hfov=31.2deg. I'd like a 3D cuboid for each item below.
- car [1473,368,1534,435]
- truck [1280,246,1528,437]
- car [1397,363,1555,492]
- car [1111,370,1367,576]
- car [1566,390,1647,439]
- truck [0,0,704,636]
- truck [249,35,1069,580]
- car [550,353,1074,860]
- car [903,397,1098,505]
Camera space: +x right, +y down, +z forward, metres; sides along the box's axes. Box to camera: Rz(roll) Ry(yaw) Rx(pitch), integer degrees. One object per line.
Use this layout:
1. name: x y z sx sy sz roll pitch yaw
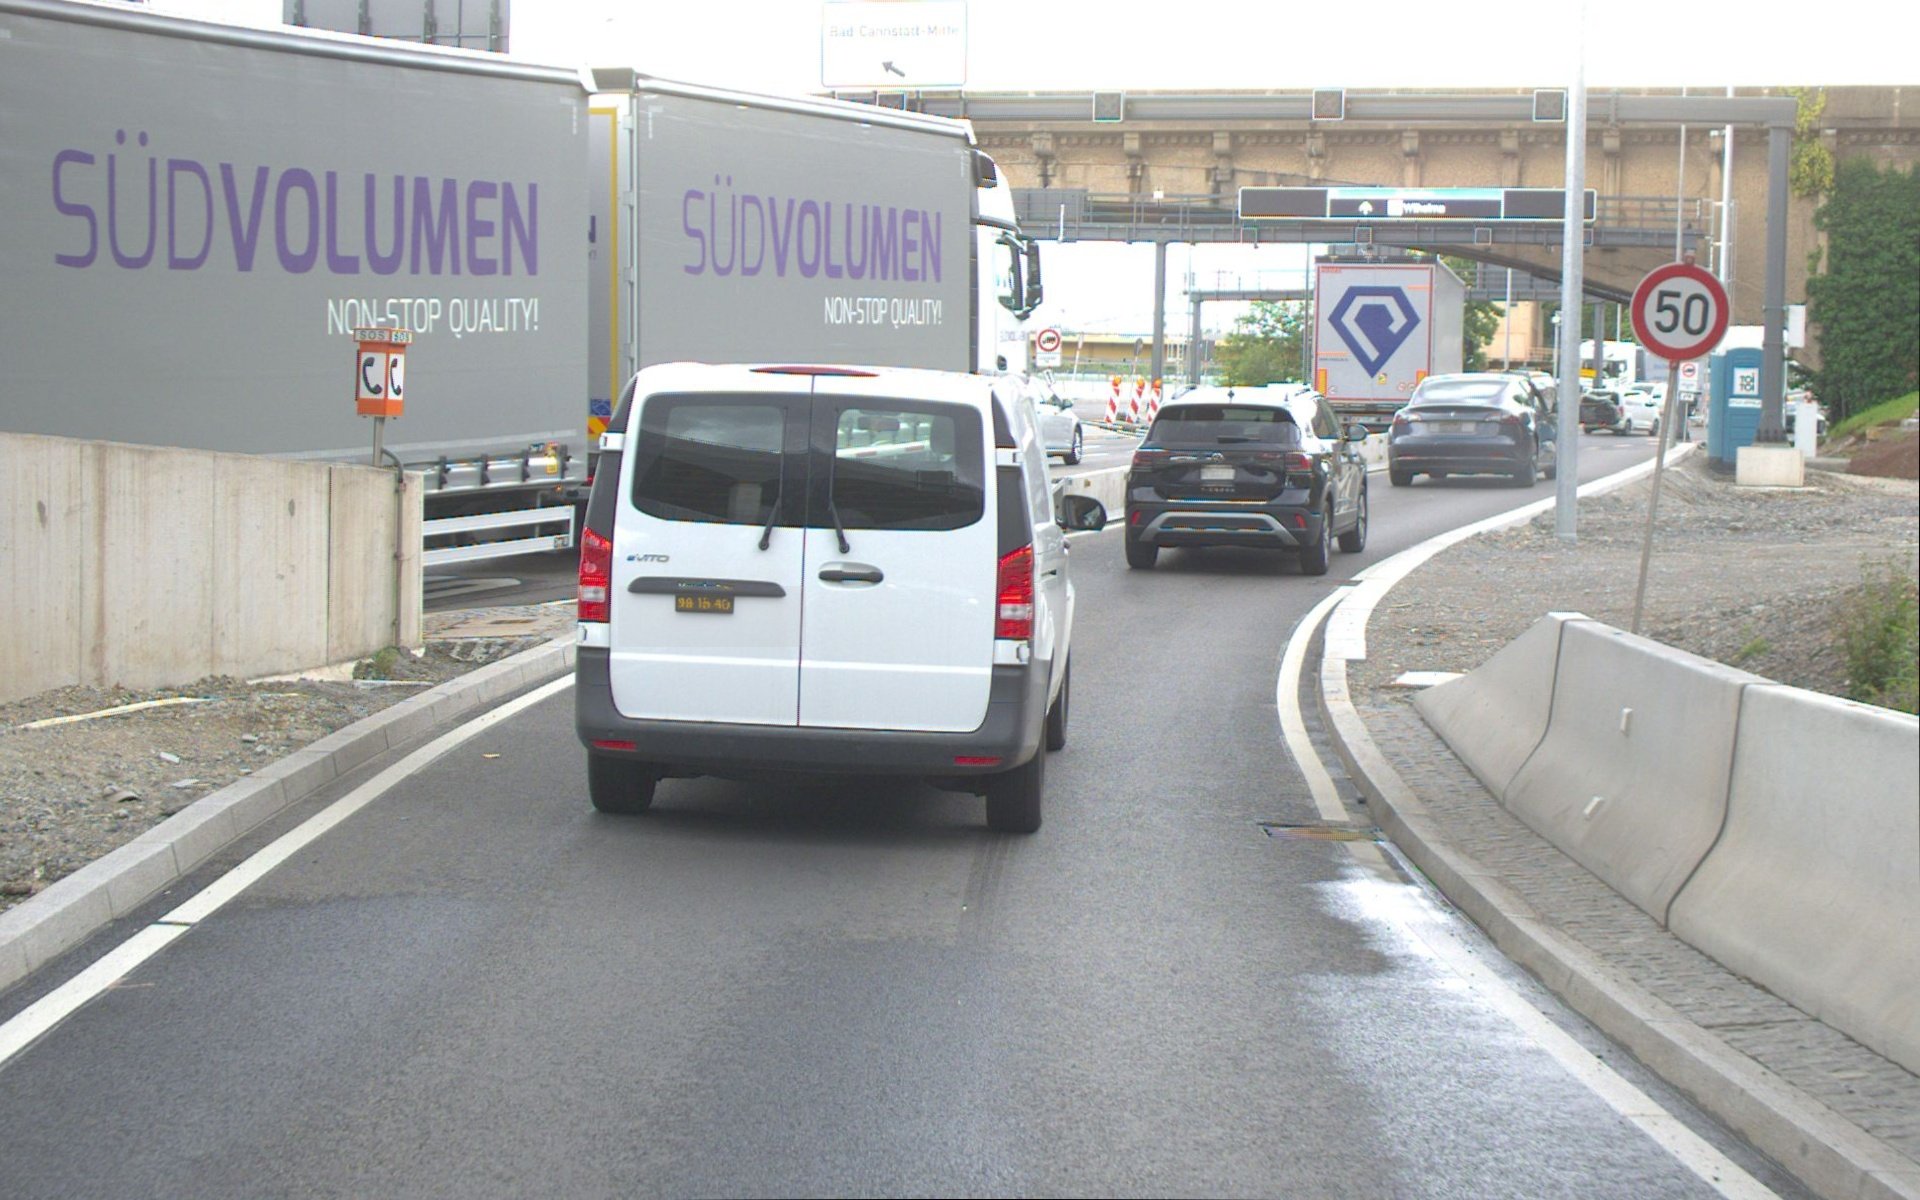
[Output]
1. car: 18.878 -6.857 119.320 1.899 2.108 4.484 3 2 10
2. truck: 10.515 -5.877 79.341 3.319 3.795 16.585 4 5 15
3. car: 6.724 -2.267 44.557 1.502 1.463 3.397 3 6 17
4. car: 2.543 -1.187 30.581 1.750 1.619 3.843 4 4 11
5. car: 26.748 -7.659 142.190 1.901 1.802 4.478 4 2 29
6. truck: -5.297 -2.184 23.934 2.921 4.002 10.192 3 5 20
7. truck: -2.267 -2.735 32.068 2.991 4.160 11.231 3 6 20
8. car: -0.489 -0.073 15.351 1.876 1.884 4.753 1 2 3
9. car: 0.680 -2.317 54.096 1.995 1.546 3.997 3 2 16
